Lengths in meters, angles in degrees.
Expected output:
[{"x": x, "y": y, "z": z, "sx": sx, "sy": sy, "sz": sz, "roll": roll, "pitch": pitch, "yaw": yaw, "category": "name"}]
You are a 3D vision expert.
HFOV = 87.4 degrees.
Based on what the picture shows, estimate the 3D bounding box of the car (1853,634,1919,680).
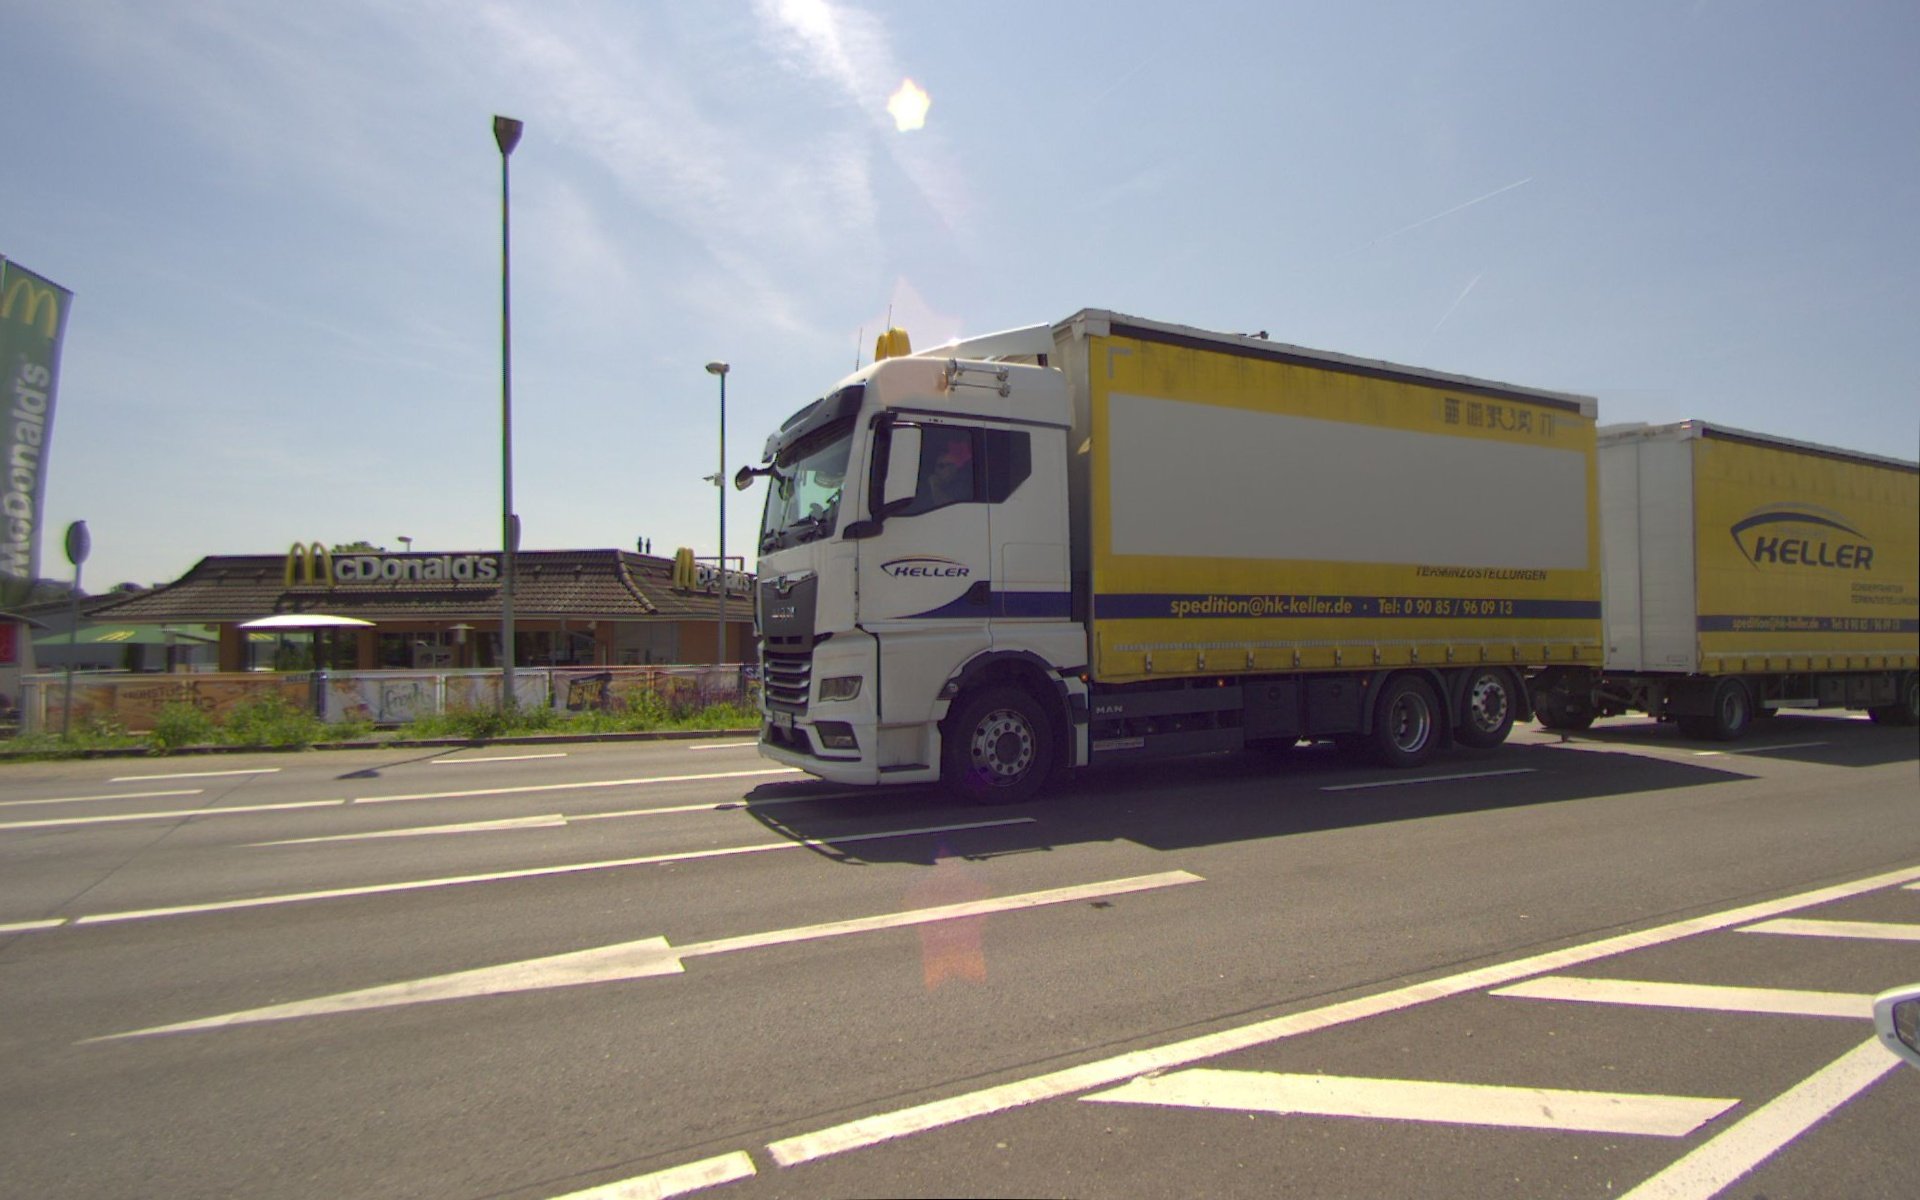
[{"x": 38.095, "y": 2.228, "z": 39.789, "sx": 3.803, "sy": 1.773, "sz": 1.795, "roll": -1, "pitch": -2, "yaw": 34, "category": "car"}]

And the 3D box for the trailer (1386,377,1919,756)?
[{"x": 11.099, "y": -0.265, "z": 15.147, "sx": 9.931, "sy": 4.343, "sz": 3.000, "roll": 1, "pitch": -2, "yaw": -28, "category": "trailer"}]

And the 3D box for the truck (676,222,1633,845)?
[{"x": 2.542, "y": -0.327, "z": 10.483, "sx": 10.227, "sy": 4.159, "sz": 3.017, "roll": 1, "pitch": -2, "yaw": -29, "category": "truck"}]
